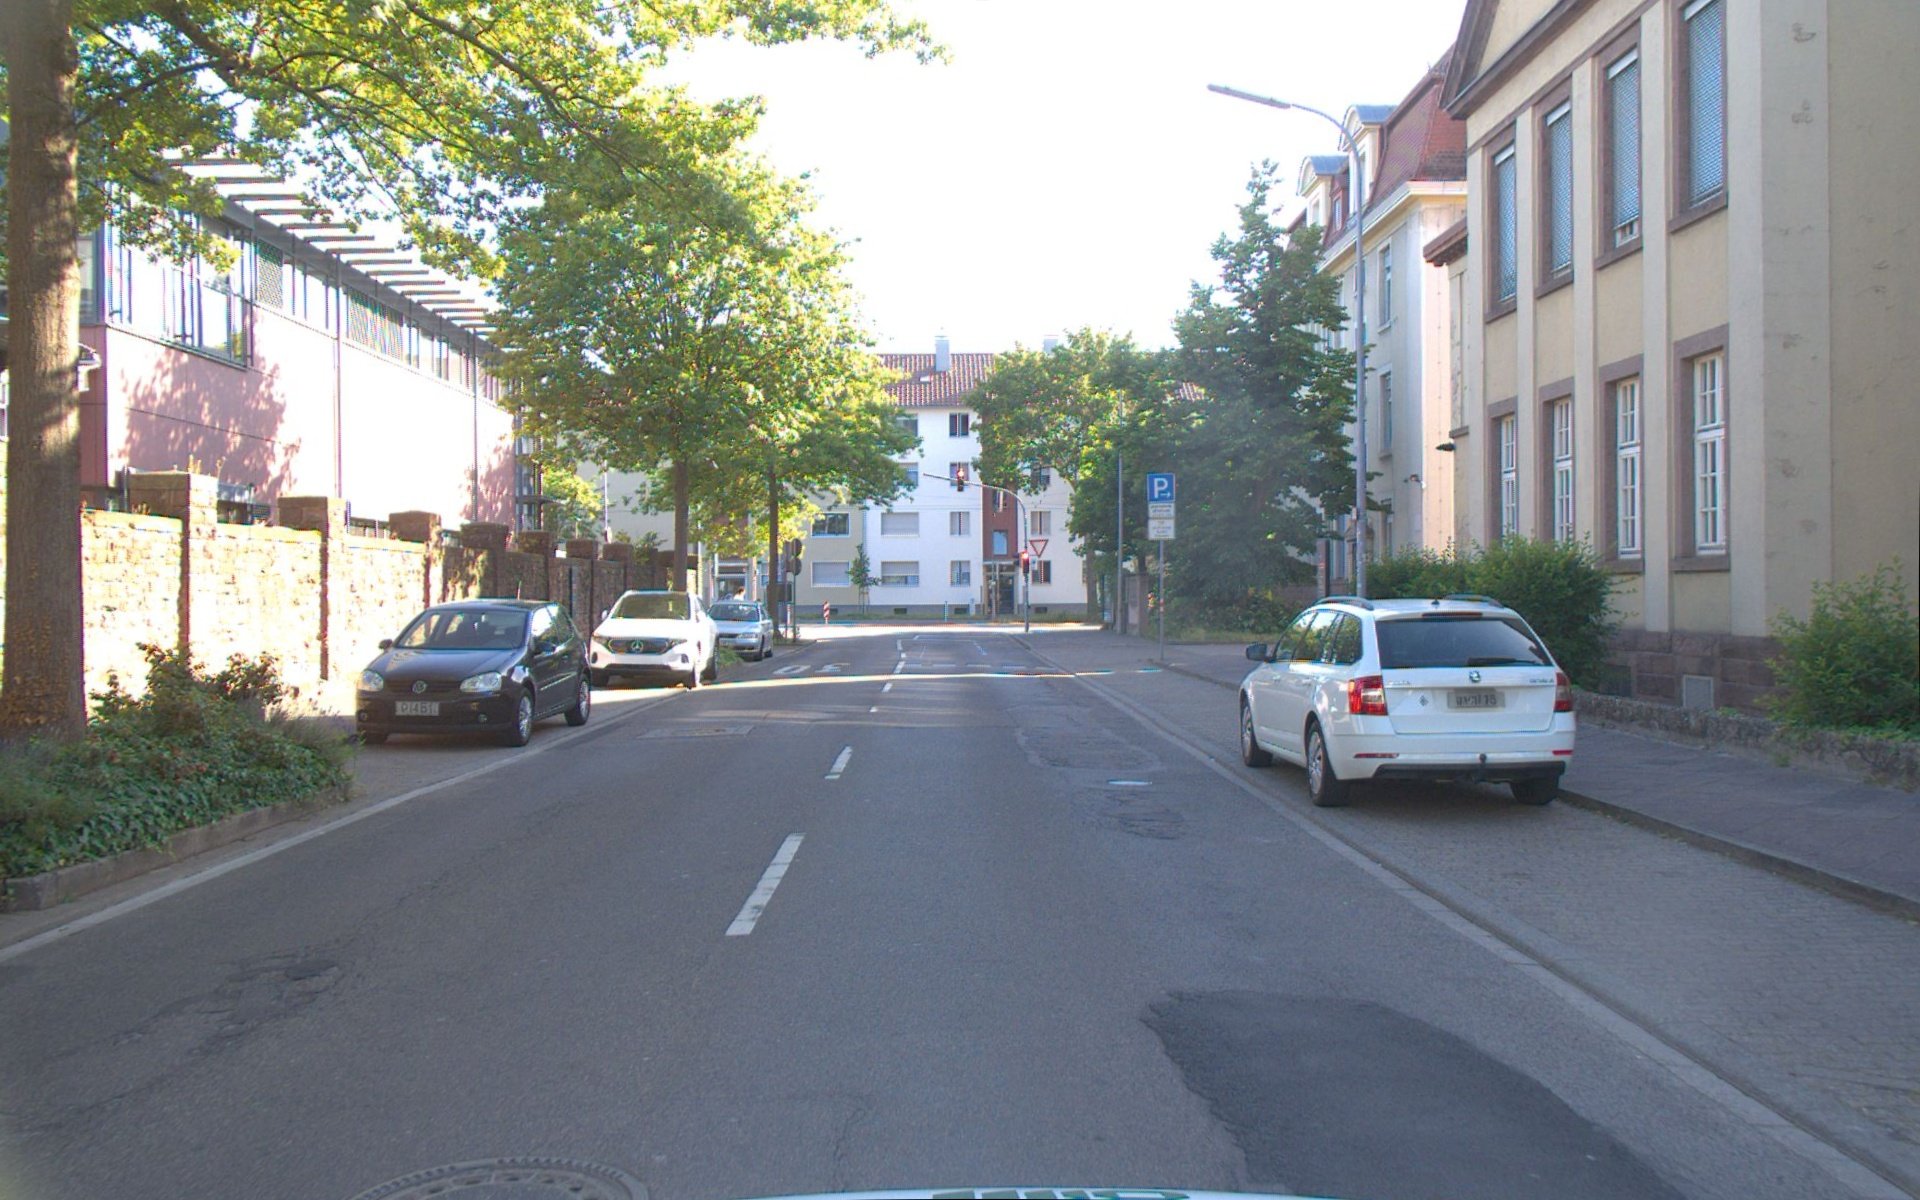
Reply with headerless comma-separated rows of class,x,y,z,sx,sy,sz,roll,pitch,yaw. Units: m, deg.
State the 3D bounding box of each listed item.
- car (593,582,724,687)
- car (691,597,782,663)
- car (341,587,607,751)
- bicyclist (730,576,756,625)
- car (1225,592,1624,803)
car,-5.280,0.554,29.428,1.685,1.713,4.349,0,0,-2
car,-5.473,0.695,41.036,1.691,1.501,4.477,1,0,-1
car,-5.246,0.672,18.416,1.701,1.620,4.107,0,0,1
bicyclist,-7.990,0.005,60.901,0.782,1.788,0.603,0,0,-42
car,3.416,0.632,13.120,1.795,1.346,4.495,-1,0,-1
